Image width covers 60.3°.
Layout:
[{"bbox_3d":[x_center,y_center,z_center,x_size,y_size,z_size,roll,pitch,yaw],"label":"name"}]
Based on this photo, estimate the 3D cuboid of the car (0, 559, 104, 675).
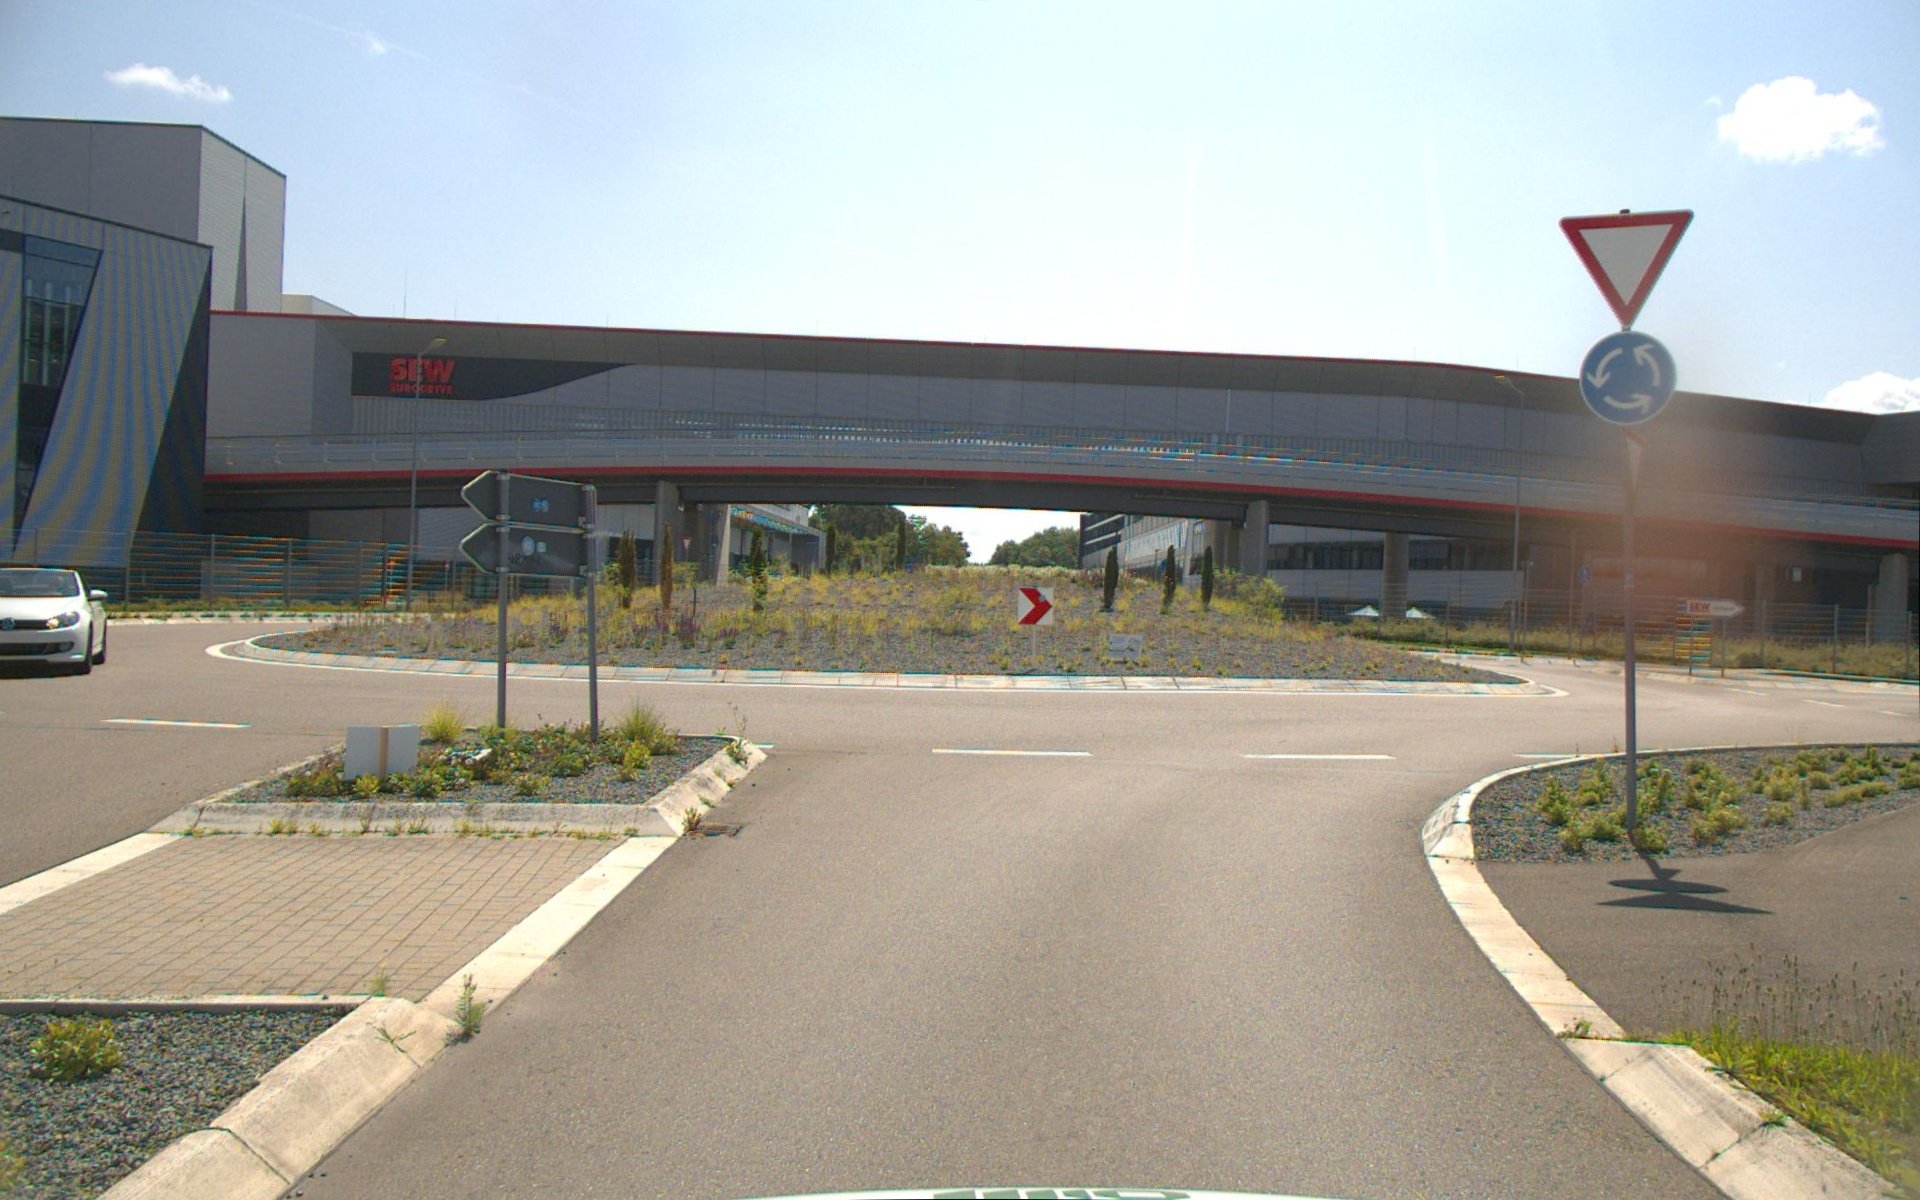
[{"bbox_3d":[-12.844,0.207,22.570,1.752,1.453,4.008,1,0,-32],"label":"car"}]
